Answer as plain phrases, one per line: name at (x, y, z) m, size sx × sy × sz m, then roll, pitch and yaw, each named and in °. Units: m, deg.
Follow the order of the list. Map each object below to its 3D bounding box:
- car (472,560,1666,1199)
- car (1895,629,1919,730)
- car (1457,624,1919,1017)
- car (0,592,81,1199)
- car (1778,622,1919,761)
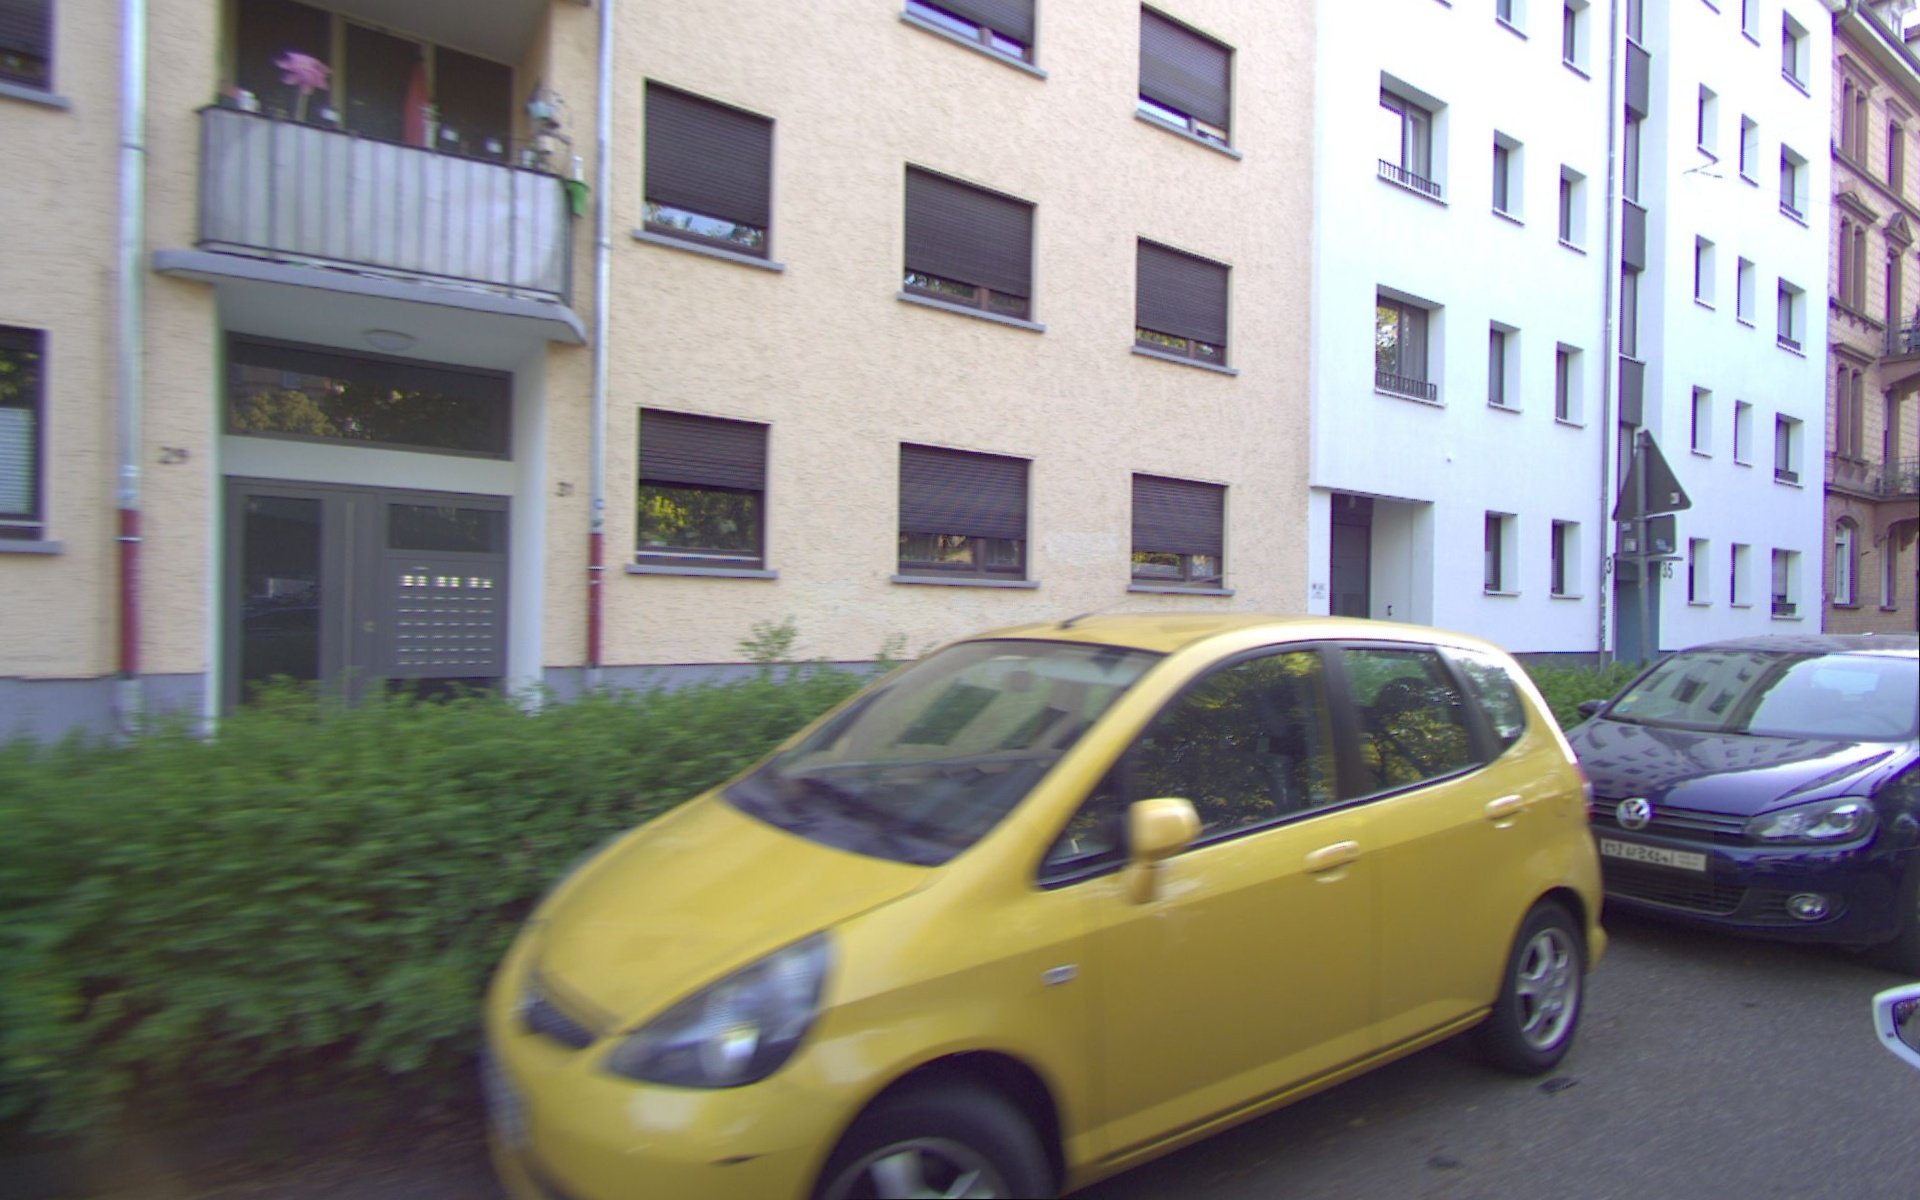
car at (0.561, 0.766, 3.336) m, size 3.734 × 1.545 × 1.692 m, roll 2°, pitch -1°, yaw -34°
car at (16.447, 1.271, 15.655) m, size 4.237 × 1.491 × 1.659 m, roll 2°, pitch 2°, yaw -32°
car at (4.757, 0.903, 5.632) m, size 3.955 × 1.499 × 1.730 m, roll 1°, pitch -2°, yaw -32°
car at (-3.467, 0.703, 0.918) m, size 3.739 × 1.537 × 1.559 m, roll 2°, pitch -1°, yaw -31°
car at (12.629, 1.133, 13.259) m, size 3.958 × 1.528 × 1.658 m, roll 2°, pitch 2°, yaw -33°
